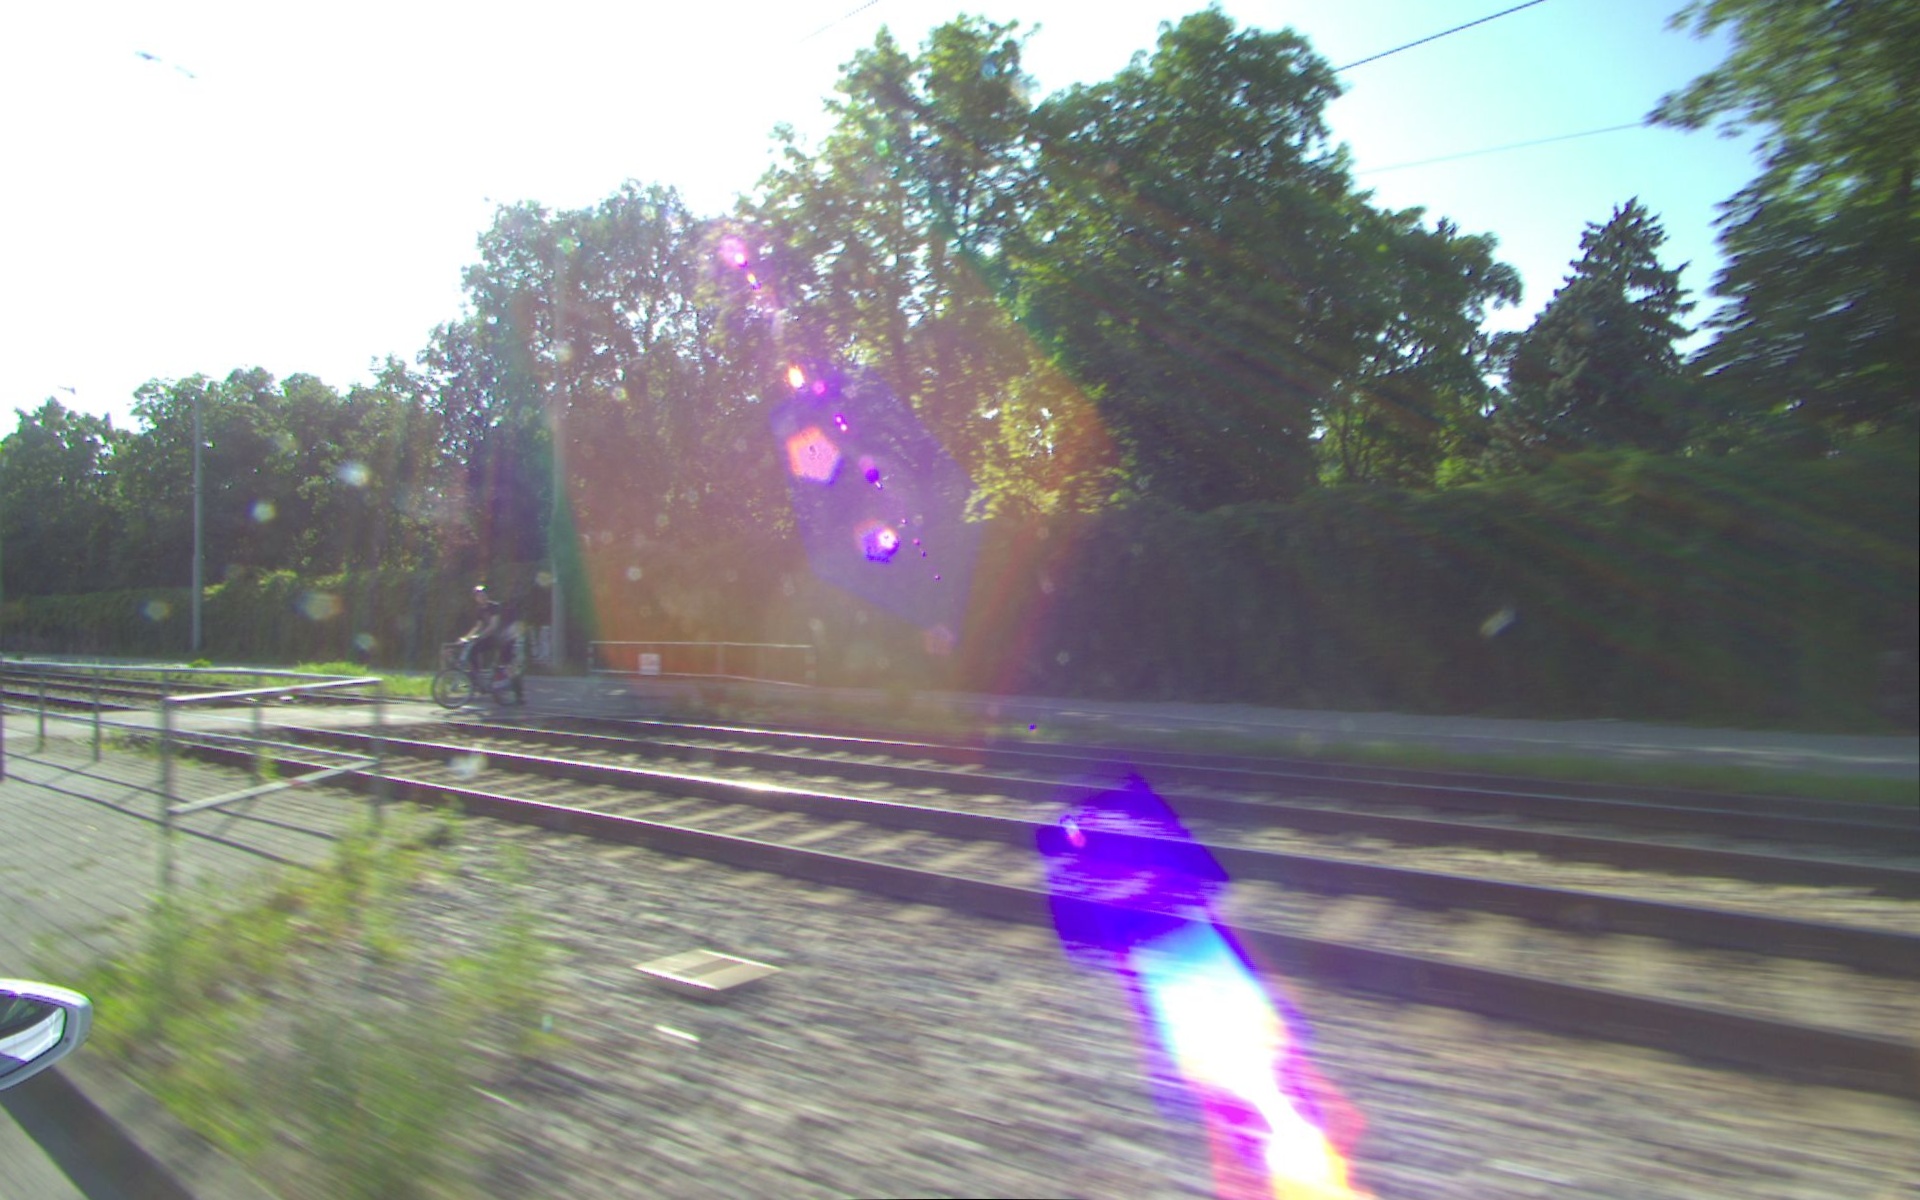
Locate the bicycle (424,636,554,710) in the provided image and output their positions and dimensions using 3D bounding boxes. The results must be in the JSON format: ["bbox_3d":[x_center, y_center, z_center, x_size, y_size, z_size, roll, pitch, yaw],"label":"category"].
[{"bbox_3d":[-7.811,1.173,16.616,1.900,1.129,0.943,0,-1,-30],"label":"bicycle"}]

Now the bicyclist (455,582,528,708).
[{"bbox_3d":[-7.782,0.732,16.626,1.021,2.019,0.943,0,0,-30],"label":"bicyclist"}]
